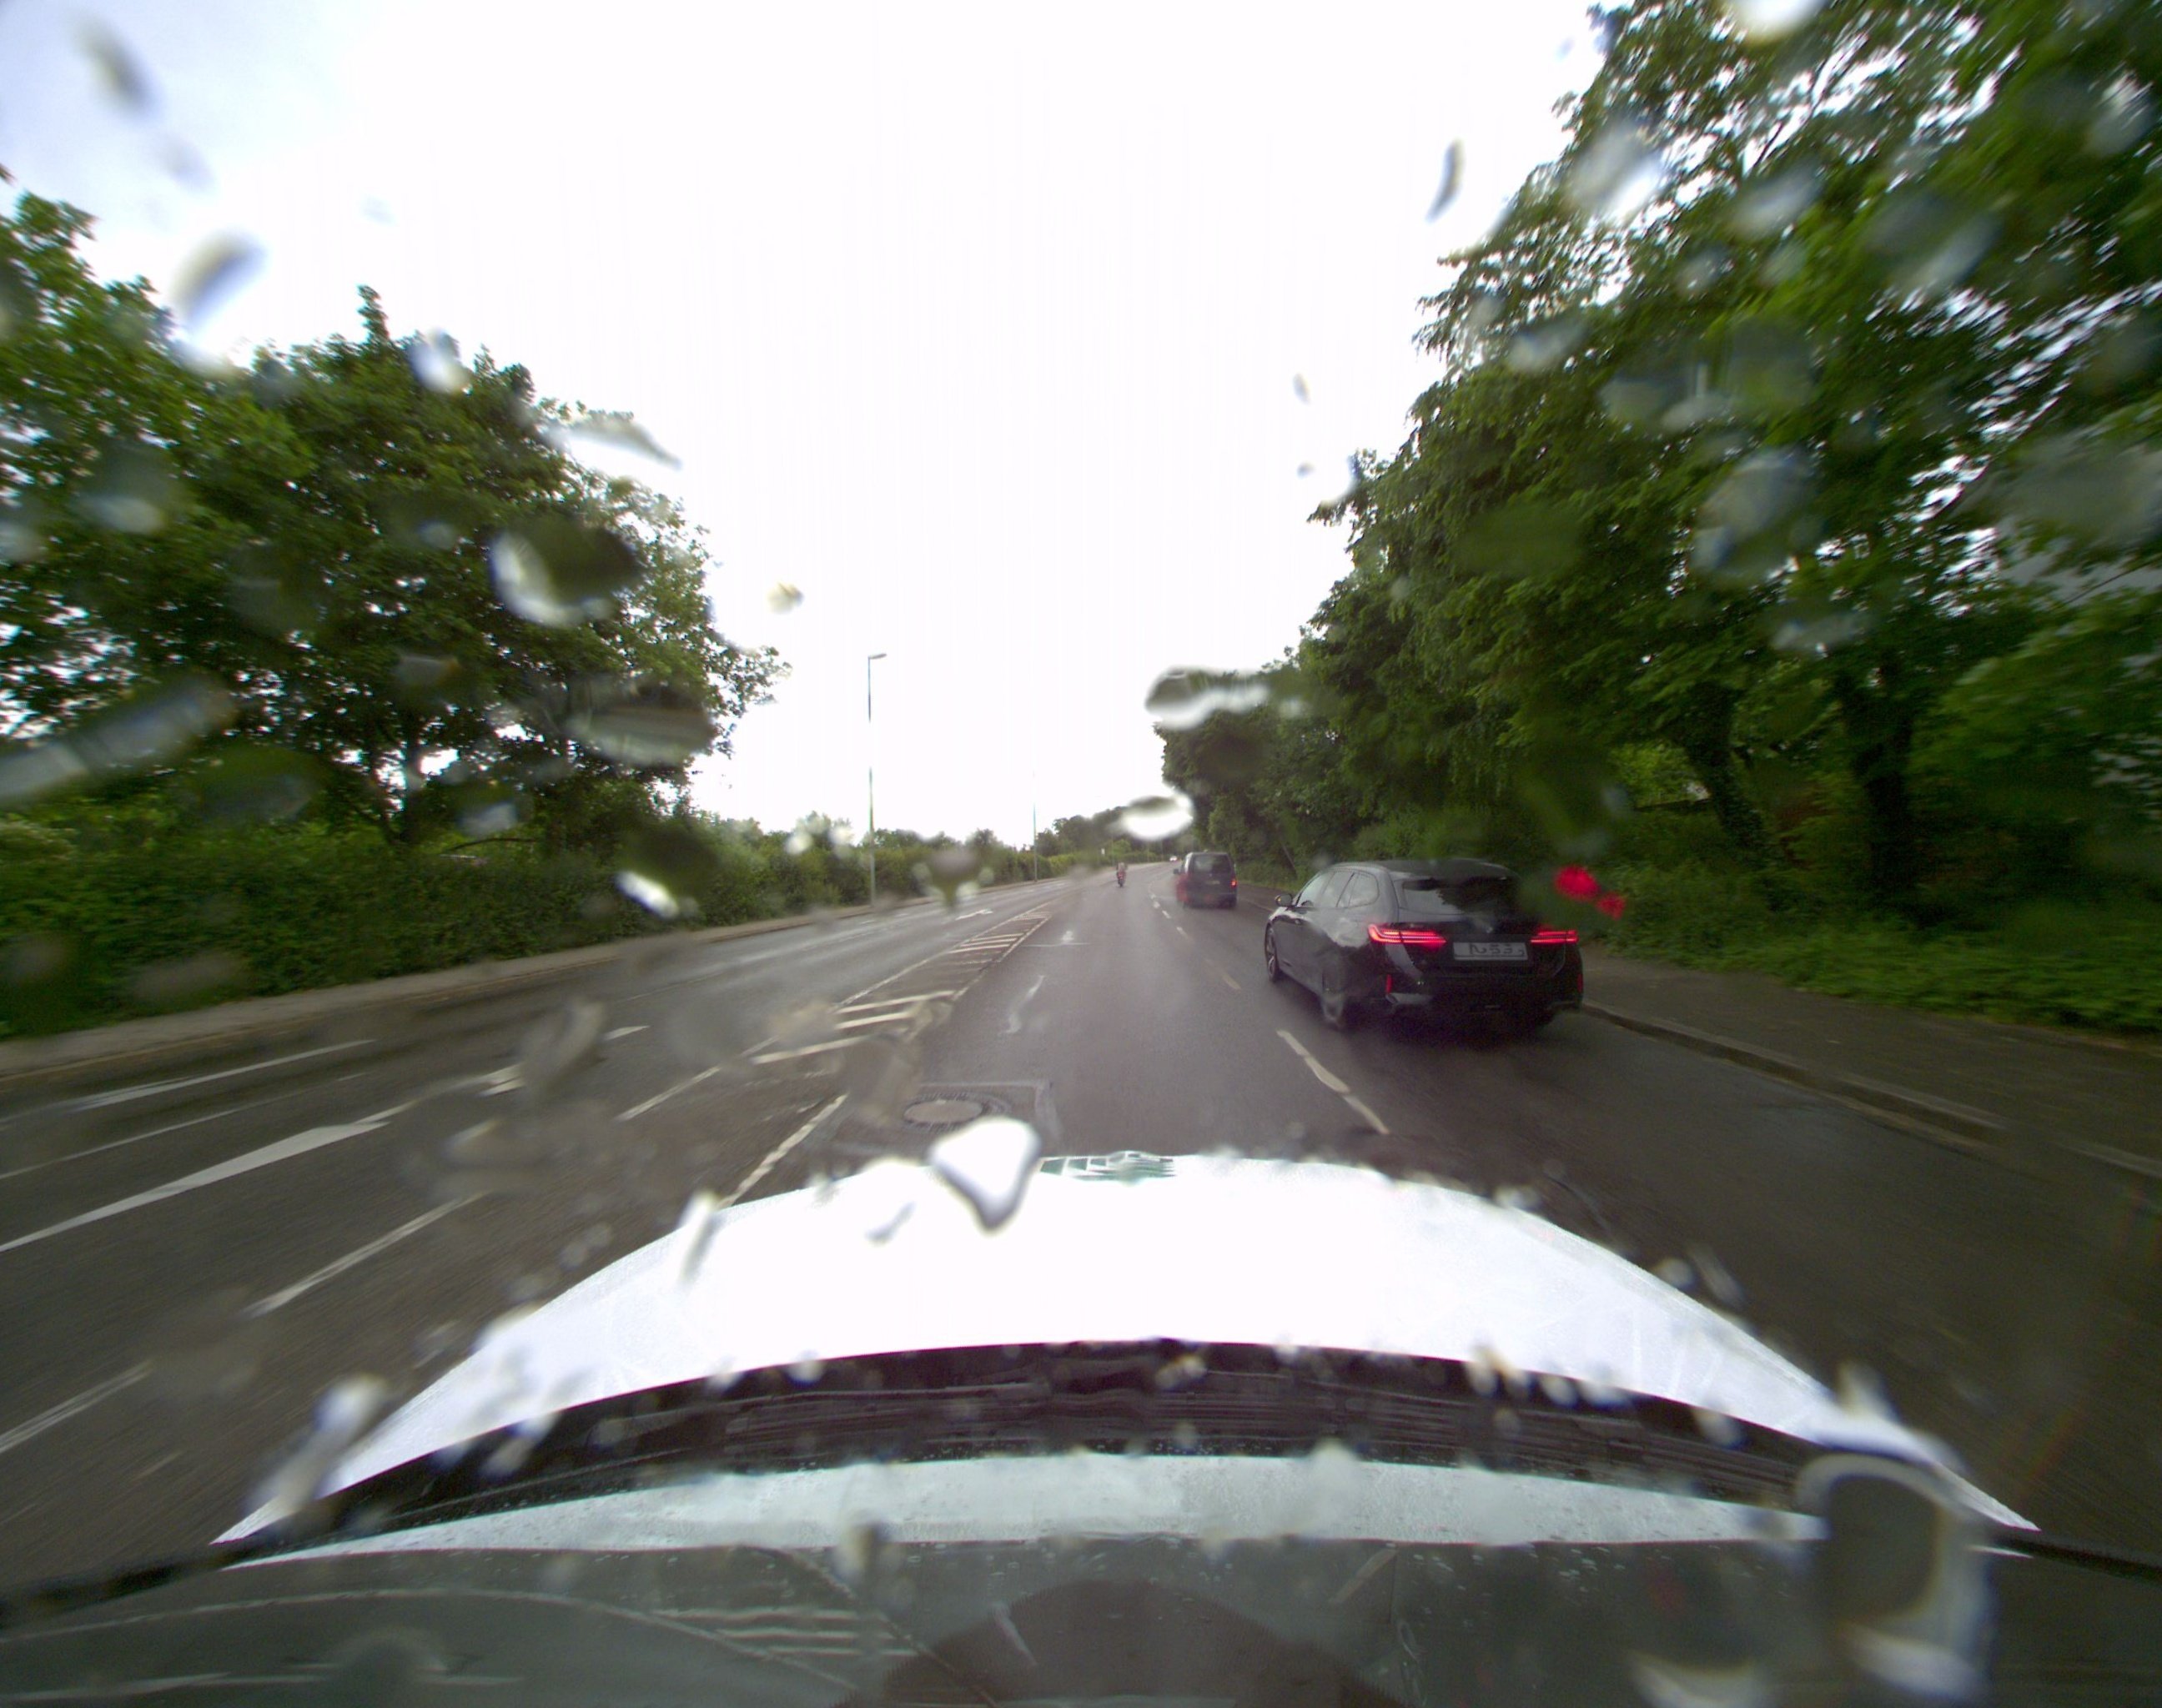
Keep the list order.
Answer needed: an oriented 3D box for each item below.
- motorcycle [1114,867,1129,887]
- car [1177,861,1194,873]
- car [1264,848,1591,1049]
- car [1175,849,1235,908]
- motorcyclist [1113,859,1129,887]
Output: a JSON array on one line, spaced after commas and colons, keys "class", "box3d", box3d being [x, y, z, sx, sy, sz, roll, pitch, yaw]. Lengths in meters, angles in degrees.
[{"class": "motorcycle", "box3d": [2.435, 1.381, 49.091, 0.737, 1.119, 1.430, -1, 1, 8]}, {"class": "car", "box3d": [14.388, 1.803, 111.928, 2.003, 1.415, 4.499, -1, 1, 9]}, {"class": "car", "box3d": [3.096, 0.758, 8.135, 1.758, 1.536, 3.673, 0, -1, 1]}, {"class": "car", "box3d": [4.150, 0.751, 27.749, 1.759, 1.810, 3.910, -1, 1, 5]}, {"class": "motorcyclist", "box3d": [2.418, 1.132, 49.050, 0.840, 1.647, 0.469, -1, 0, 7]}]
